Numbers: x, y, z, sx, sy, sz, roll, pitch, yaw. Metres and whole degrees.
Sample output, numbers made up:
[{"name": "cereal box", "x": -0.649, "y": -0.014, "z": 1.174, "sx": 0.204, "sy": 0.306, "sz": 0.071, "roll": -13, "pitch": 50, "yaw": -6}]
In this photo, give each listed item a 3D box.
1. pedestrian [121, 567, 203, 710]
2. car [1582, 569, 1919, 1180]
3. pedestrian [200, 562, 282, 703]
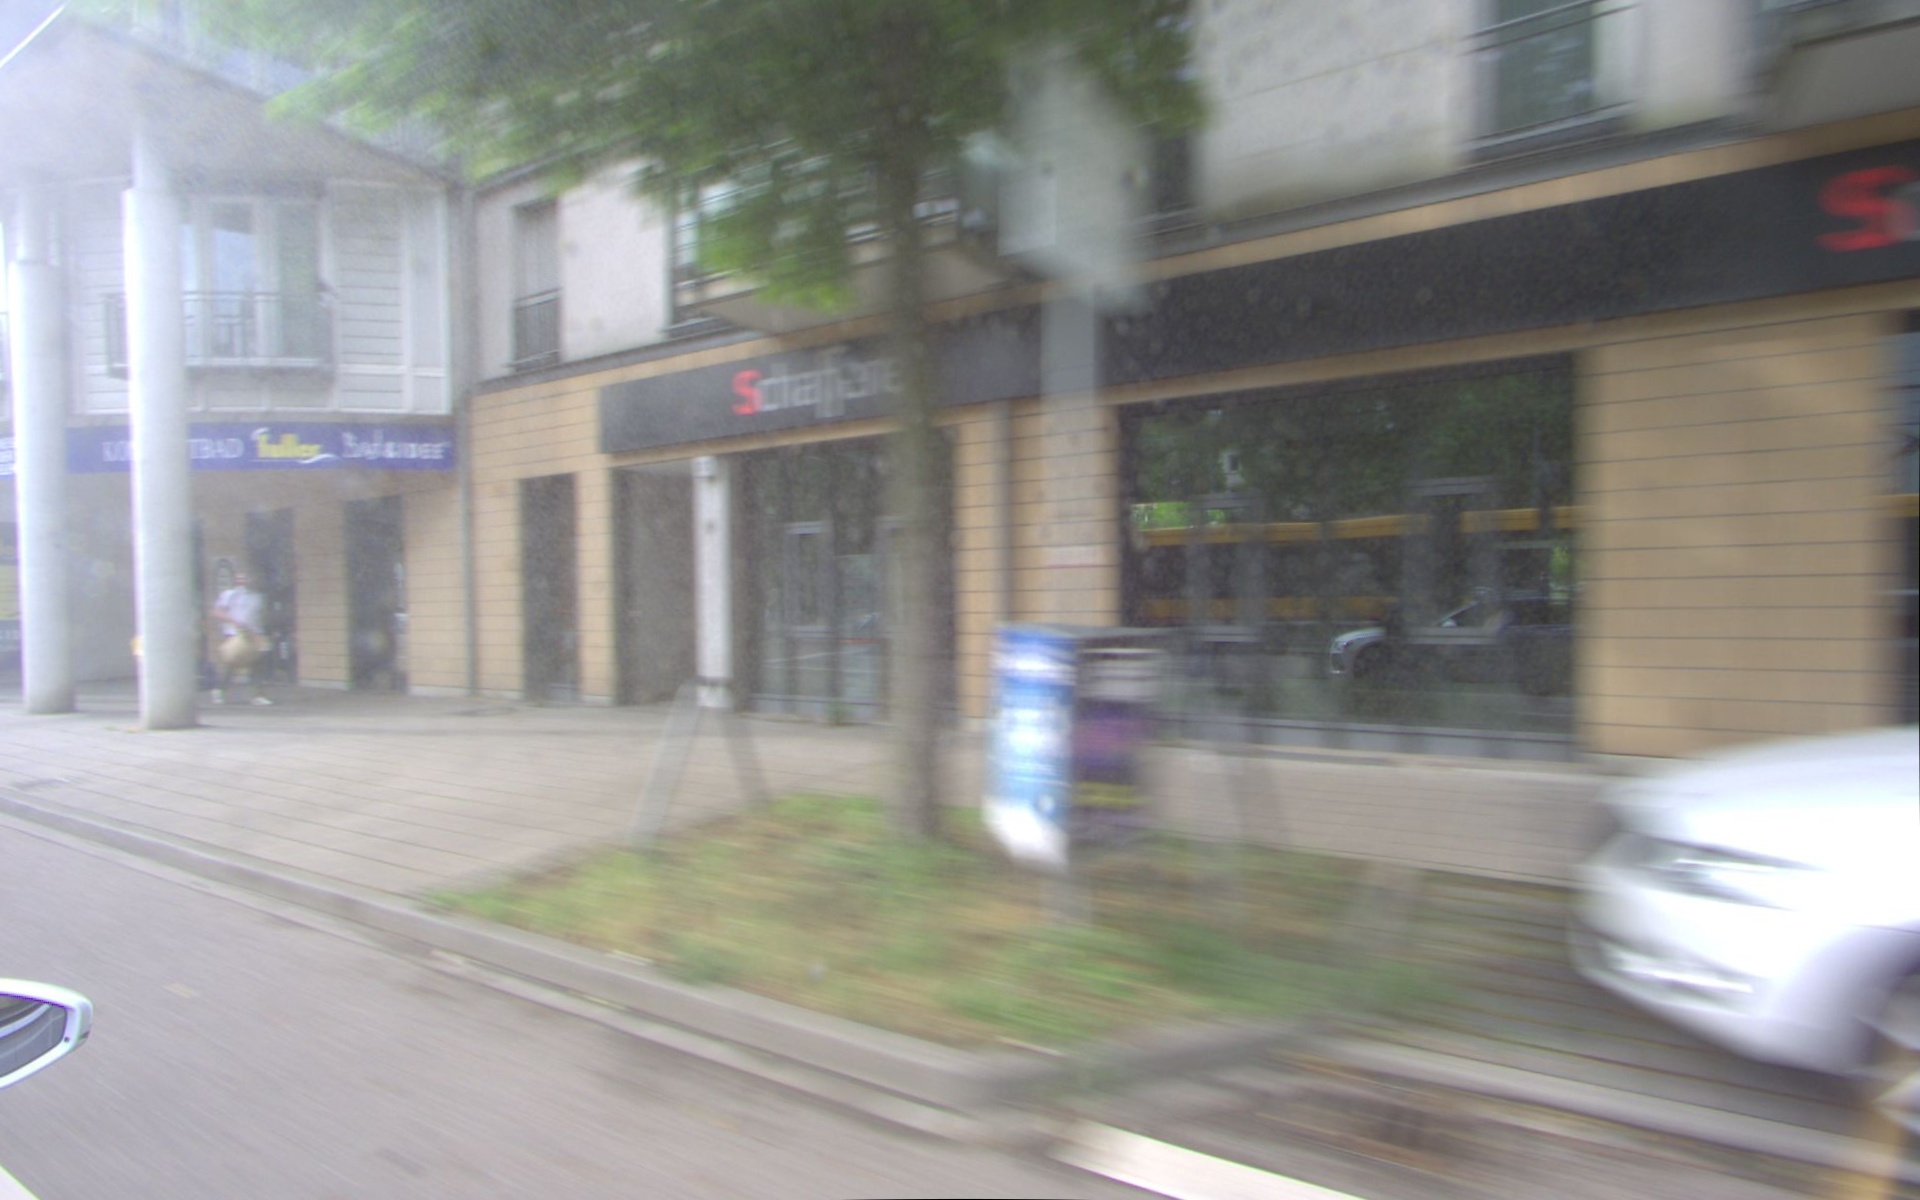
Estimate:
[{"name": "pedestrian", "x": -10.536, "y": 0.494, "z": 13.226, "sx": 0.727, "sy": 1.830, "sz": 0.614, "roll": 0, "pitch": 2, "yaw": 33}, {"name": "car", "x": 4.075, "y": 0.669, "z": 2.439, "sx": 4.328, "sy": 1.519, "sz": 1.671, "roll": -1, "pitch": 3, "yaw": 33}, {"name": "pedestrian", "x": -10.096, "y": 0.436, "z": 14.069, "sx": 0.727, "sy": 1.916, "sz": 0.673, "roll": 0, "pitch": 2, "yaw": 33}]
